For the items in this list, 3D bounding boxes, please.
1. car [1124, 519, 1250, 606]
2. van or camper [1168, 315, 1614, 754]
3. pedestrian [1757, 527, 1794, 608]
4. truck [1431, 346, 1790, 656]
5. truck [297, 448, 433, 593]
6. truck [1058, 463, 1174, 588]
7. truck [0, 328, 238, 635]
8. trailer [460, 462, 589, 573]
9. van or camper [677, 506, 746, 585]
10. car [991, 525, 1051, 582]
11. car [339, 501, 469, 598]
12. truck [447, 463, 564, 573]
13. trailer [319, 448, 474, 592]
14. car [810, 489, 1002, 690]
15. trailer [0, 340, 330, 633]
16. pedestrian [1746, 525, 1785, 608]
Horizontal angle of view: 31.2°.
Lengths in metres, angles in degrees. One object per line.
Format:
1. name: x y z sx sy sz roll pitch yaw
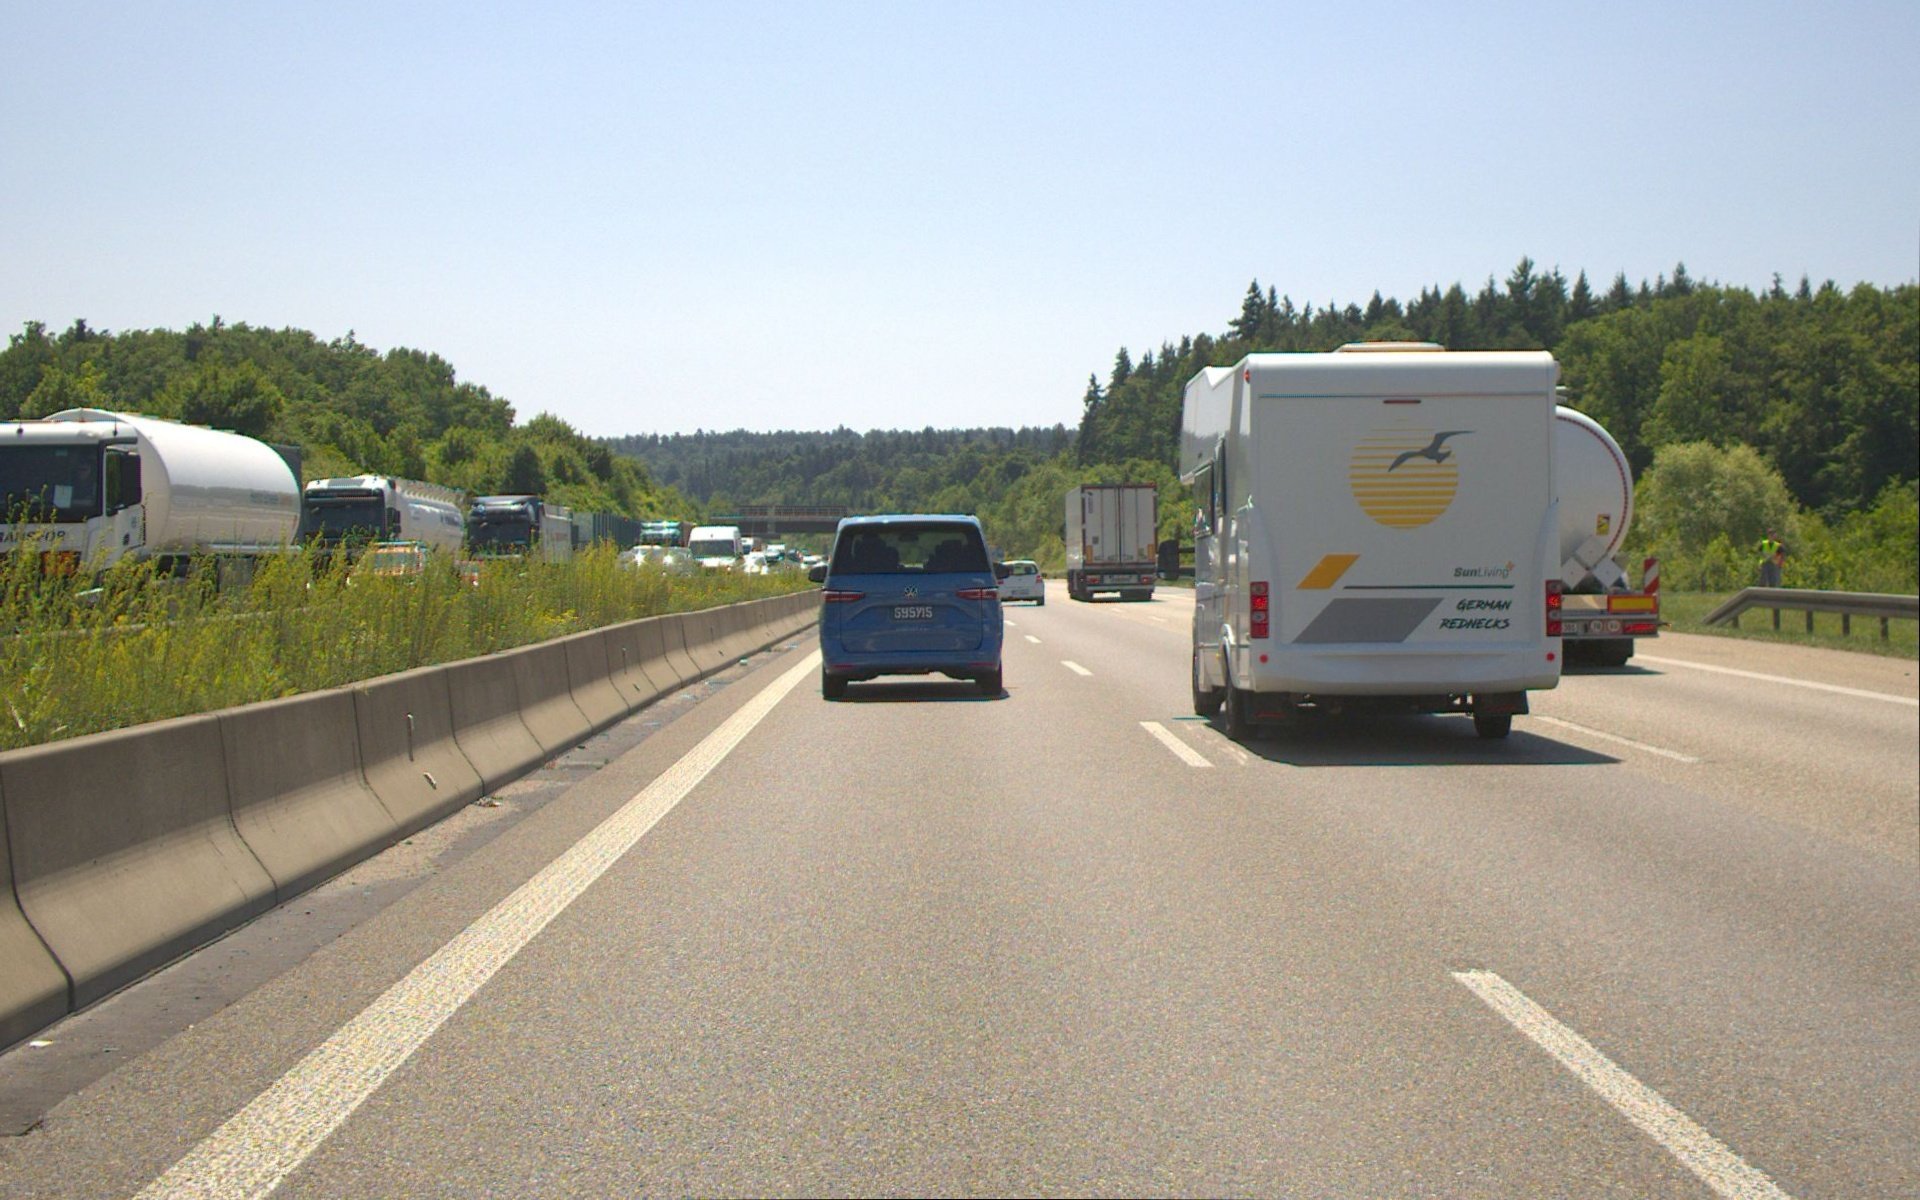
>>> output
1. car: 3.948 -0.657 60.324 1.909 1.470 4.000 0 1 0
2. van or camper: 3.240 -0.525 27.675 2.603 3.068 7.182 0 1 -1
3. pedestrian: 21.129 -0.837 89.083 0.688 2.073 0.928 2 0 0
4. truck: 8.060 -1.260 43.800 2.928 3.563 8.527 0 2 0
5. truck: -16.537 -2.180 95.863 2.692 3.865 6.317 1 0 0
6. truck: 5.428 -2.572 121.276 3.487 4.156 8.642 2 0 -1
7. truck: -11.957 -1.527 47.105 2.618 3.876 7.403 0 0 0
8. trailer: -16.744 -3.168 133.136 3.578 4.079 11.538 0 1 0
9. van or camper: -9.482 -2.049 131.735 1.993 2.867 7.641 2 1 0
10. car: 2.012 -1.518 113.592 1.818 1.788 3.894 2 0 -1
11. car: -12.418 -1.128 77.093 2.086 2.056 5.059 1 1 0
12. truck: -16.718 -2.988 126.793 3.455 3.863 5.445 2 0 0
13. trailer: -16.714 -2.303 102.889 2.679 3.936 13.246 2 1 -1
14. car: -0.561 -0.125 36.723 1.909 2.007 4.000 1 0 0
15. trailer: -12.084 -1.563 53.182 2.679 3.936 11.646 -2 0 -1
16. pedestrian: 20.331 -0.842 86.765 0.688 2.073 0.928 2 0 0
